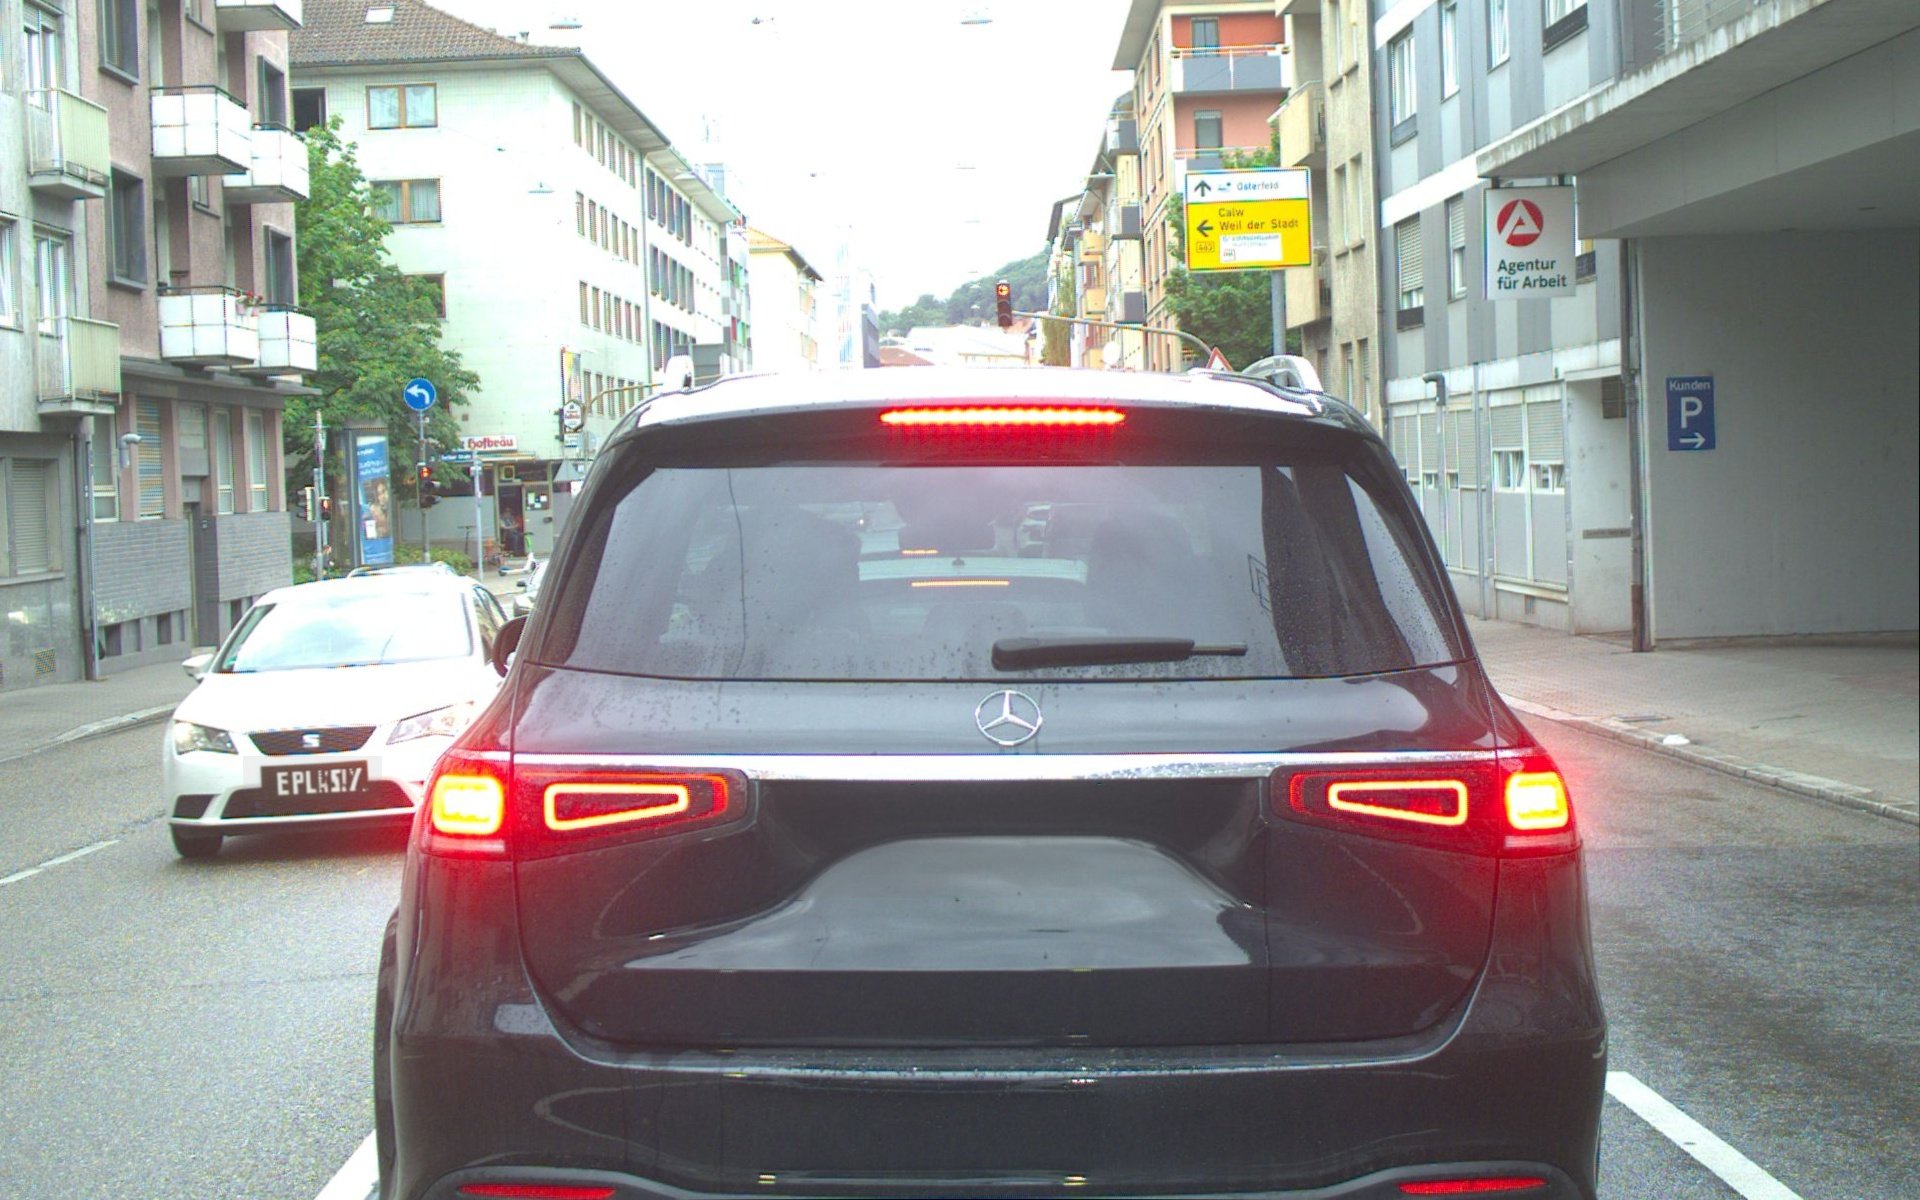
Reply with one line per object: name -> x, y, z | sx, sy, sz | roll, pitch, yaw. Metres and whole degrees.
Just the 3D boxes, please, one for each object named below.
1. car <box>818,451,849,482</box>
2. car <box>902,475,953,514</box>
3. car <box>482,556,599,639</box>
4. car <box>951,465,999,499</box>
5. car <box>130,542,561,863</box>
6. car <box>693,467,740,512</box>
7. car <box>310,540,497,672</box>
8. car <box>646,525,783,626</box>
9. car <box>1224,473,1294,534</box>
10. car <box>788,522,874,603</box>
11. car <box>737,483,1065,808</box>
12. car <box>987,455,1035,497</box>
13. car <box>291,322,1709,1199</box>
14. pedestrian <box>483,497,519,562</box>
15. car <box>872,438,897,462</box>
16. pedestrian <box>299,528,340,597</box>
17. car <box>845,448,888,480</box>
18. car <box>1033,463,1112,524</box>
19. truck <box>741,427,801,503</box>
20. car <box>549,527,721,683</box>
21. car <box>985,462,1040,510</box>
car -> -7.144, -7.517, 193.661 | 1.618, 1.534, 4.218 | -3, 1, -3
car -> -1.336, -4.311, 141.096 | 1.993, 1.483, 4.000 | -2, 1, -1
car -> -7.723, -0.071, 63.596 | 1.694, 1.365, 4.367 | -4, 1, -2
car -> 0.676, -5.439, 158.372 | 1.885, 1.367, 4.218 | -3, 1, -3
car -> -3.364, 0.502, 19.536 | 1.744, 1.534, 4.053 | -3, 1, -2
car -> -9.318, -4.220, 131.616 | 1.618, 1.534, 4.218 | -3, 1, -3
car -> -7.010, 0.035, 43.683 | 1.723, 1.468, 4.375 | -4, 1, -2
car -> -3.688, -0.374, 52.254 | 1.695, 1.365, 4.218 | -4, 0, 0
car -> 8.224, -2.649, 94.634 | 1.671, 1.583, 3.330 | -2, 1, 2
car -> -2.737, -0.791, 73.345 | 1.694, 1.575, 4.218 | -4, 0, -2
car -> -0.421, 0.228, 20.862 | 1.751, 1.725, 4.218 | -1, 1, -3
car -> 2.062, -5.061, 140.622 | 1.618, 1.534, 4.218 | -3, 1, -3
car -> 0.029, 0.499, 7.049 | 1.985, 1.799, 4.390 | 1, 1, -1
pedestrian -> -13.624, -2.094, 101.970 | 0.923, 1.895, 0.706 | -2, 1, -2
car -> -5.470, -10.904, 250.180 | 1.618, 1.534, 4.218 | -3, 1, -3
pedestrian -> -16.773, -0.976, 89.999 | 0.772, 1.758, 0.636 | -1, 2, 40
car -> -4.445, -6.456, 163.463 | 1.885, 1.260, 4.218 | -3, 1, -3
car -> 2.878, -2.726, 88.769 | 1.618, 1.382, 4.218 | -3, 1, -3
truck -> -8.612, -6.119, 157.033 | 2.479, 3.035, 9.921 | -3, 1, -3
car -> -3.537, 0.033, 38.001 | 1.618, 1.534, 4.218 | -3, 1, -3
car -> 1.870, -4.111, 124.050 | 1.618, 1.534, 4.218 | -3, 1, -3
